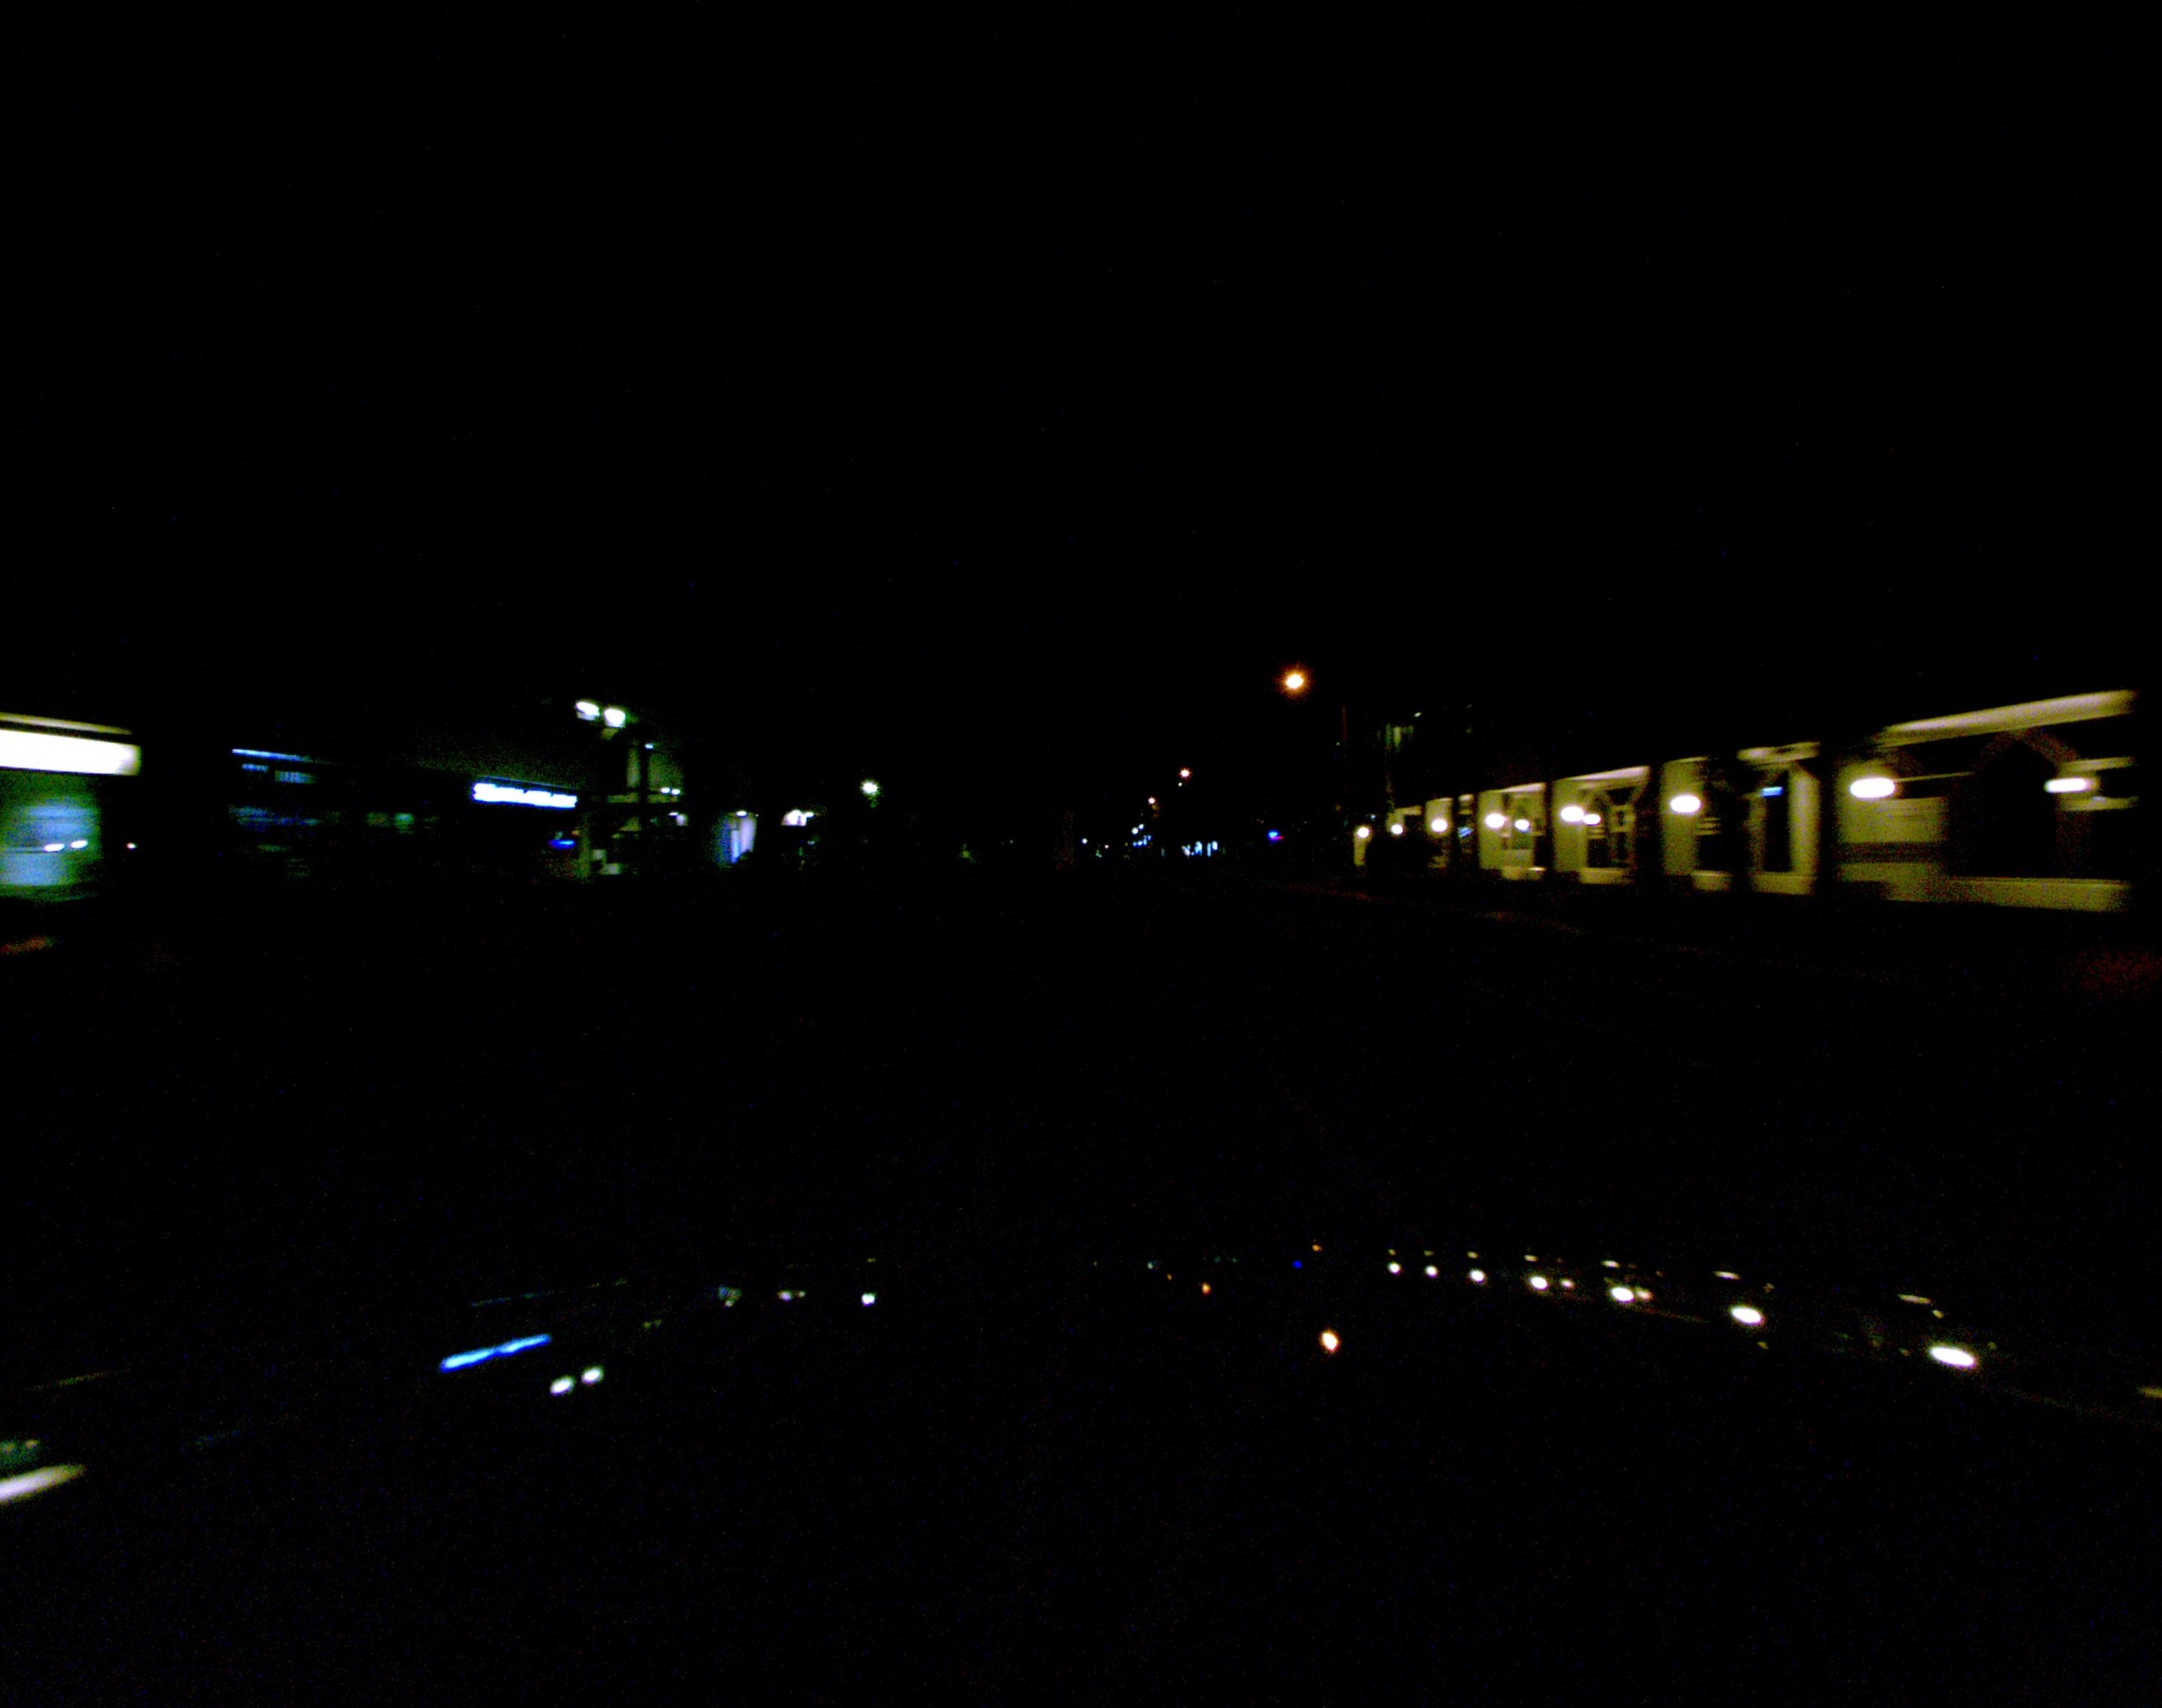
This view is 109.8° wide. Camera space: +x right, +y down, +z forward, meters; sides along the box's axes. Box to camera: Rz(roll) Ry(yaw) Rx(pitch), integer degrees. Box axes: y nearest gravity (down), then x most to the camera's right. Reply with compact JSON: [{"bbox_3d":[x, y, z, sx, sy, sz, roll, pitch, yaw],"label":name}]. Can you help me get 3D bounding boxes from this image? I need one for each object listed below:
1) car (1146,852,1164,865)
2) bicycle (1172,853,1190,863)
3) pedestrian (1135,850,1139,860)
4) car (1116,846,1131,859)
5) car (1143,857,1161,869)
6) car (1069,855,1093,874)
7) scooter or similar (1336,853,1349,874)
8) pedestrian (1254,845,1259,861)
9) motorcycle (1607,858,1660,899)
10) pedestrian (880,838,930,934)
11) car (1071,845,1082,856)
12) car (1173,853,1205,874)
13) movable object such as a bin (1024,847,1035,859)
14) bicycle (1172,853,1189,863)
[{"bbox_3d":[8.612,0.519,88.486,1.726,1.420,3.976,-2,0,1],"label":"car"},{"bbox_3d":[11.148,0.411,84.722,1.855,1.029,0.532,-2,1,1],"label":"bicycle"},{"bbox_3d":[10.788,0.162,146.704,0.719,1.795,0.716,0,1,1],"label":"pedestrian"},{"bbox_3d":[6.913,-0.235,124.177,1.858,2.075,5.088,-1,0,-4],"label":"car"},{"bbox_3d":[8.714,1.086,94.162,1.811,1.417,4.921,-2,0,1],"label":"car"},{"bbox_3d":[0.059,0.777,60.481,1.768,1.406,4.807,0,0,2],"label":"car"},{"bbox_3d":[15.403,0.561,44.773,0.388,1.214,1.344,0,1,4],"label":"scooter or similar"},{"bbox_3d":[18.325,-0.082,79.312,0.479,1.627,0.632,0,1,2],"label":"pedestrian"},{"bbox_3d":[14.637,0.636,20.180,0.479,1.014,1.676,-1,0,11],"label":"motorcycle"},{"bbox_3d":[-3.412,0.595,14.826,0.704,1.808,1.082,0,1,1],"label":"pedestrian"},{"bbox_3d":[-0.666,-0.554,120.529,1.793,1.811,4.579,0,0,0],"label":"car"},{"bbox_3d":[7.853,0.641,55.518,1.745,1.405,4.495,-1,0,2],"label":"car"},{"bbox_3d":[-5.850,-0.101,87.017,1.163,1.363,0.993,-1,1,-1],"label":"movable object such as a bin"},{"bbox_3d":[10.836,0.430,82.641,1.855,1.159,0.532,0,1,1],"label":"bicycle"}]
